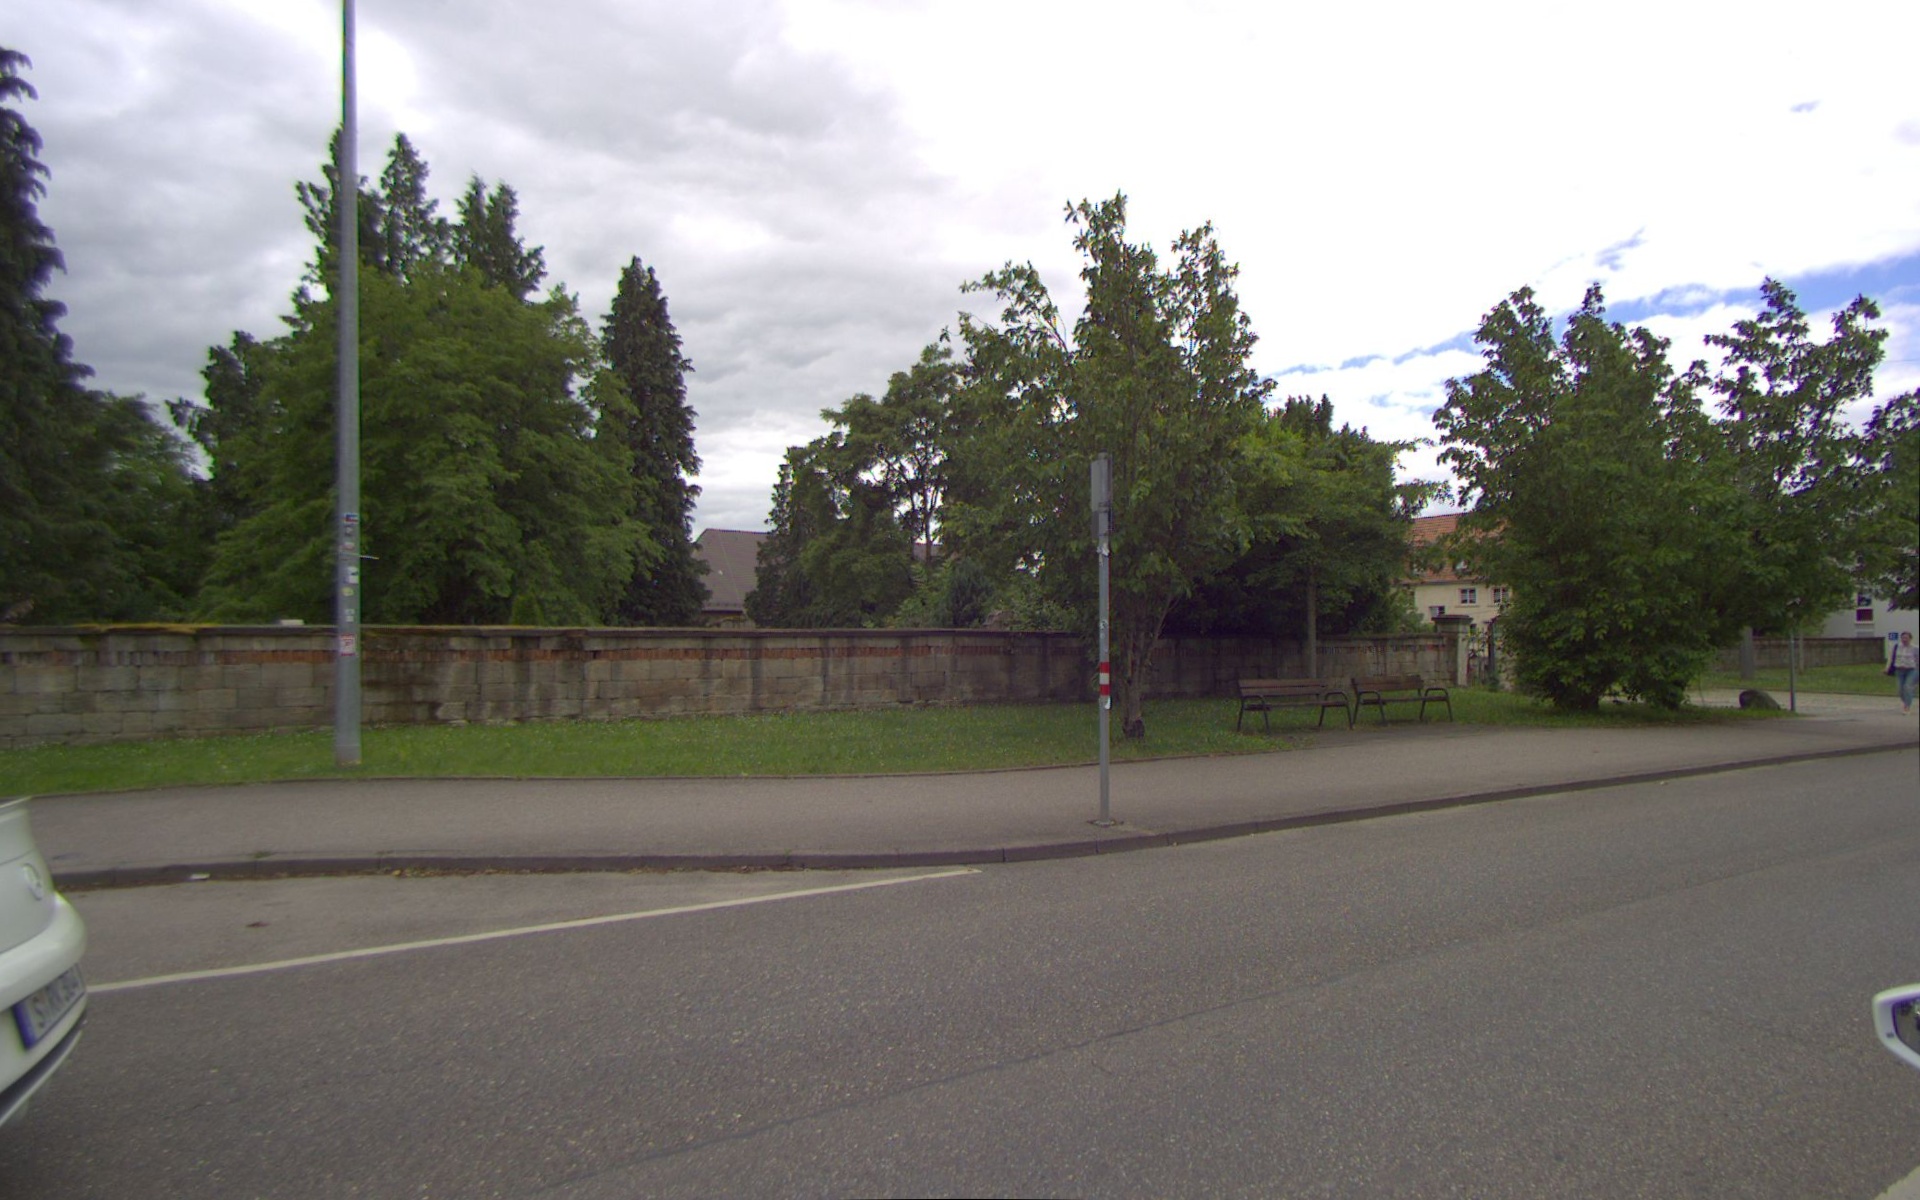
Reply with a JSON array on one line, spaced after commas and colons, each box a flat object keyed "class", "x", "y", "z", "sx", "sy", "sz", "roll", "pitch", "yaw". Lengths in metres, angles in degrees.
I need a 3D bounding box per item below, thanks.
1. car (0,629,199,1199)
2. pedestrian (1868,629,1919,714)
[{"class": "car", "x": -4.241, "y": 0.780, "z": 1.433, "sx": 4.772, "sy": 1.437, "sz": 1.807, "roll": 2, "pitch": -5, "yaw": -30}, {"class": "pedestrian", "x": 20.282, "y": 1.517, "z": 21.702, "sx": 0.894, "sy": 1.771, "sz": 0.763, "roll": 2, "pitch": -1, "yaw": -32}]
